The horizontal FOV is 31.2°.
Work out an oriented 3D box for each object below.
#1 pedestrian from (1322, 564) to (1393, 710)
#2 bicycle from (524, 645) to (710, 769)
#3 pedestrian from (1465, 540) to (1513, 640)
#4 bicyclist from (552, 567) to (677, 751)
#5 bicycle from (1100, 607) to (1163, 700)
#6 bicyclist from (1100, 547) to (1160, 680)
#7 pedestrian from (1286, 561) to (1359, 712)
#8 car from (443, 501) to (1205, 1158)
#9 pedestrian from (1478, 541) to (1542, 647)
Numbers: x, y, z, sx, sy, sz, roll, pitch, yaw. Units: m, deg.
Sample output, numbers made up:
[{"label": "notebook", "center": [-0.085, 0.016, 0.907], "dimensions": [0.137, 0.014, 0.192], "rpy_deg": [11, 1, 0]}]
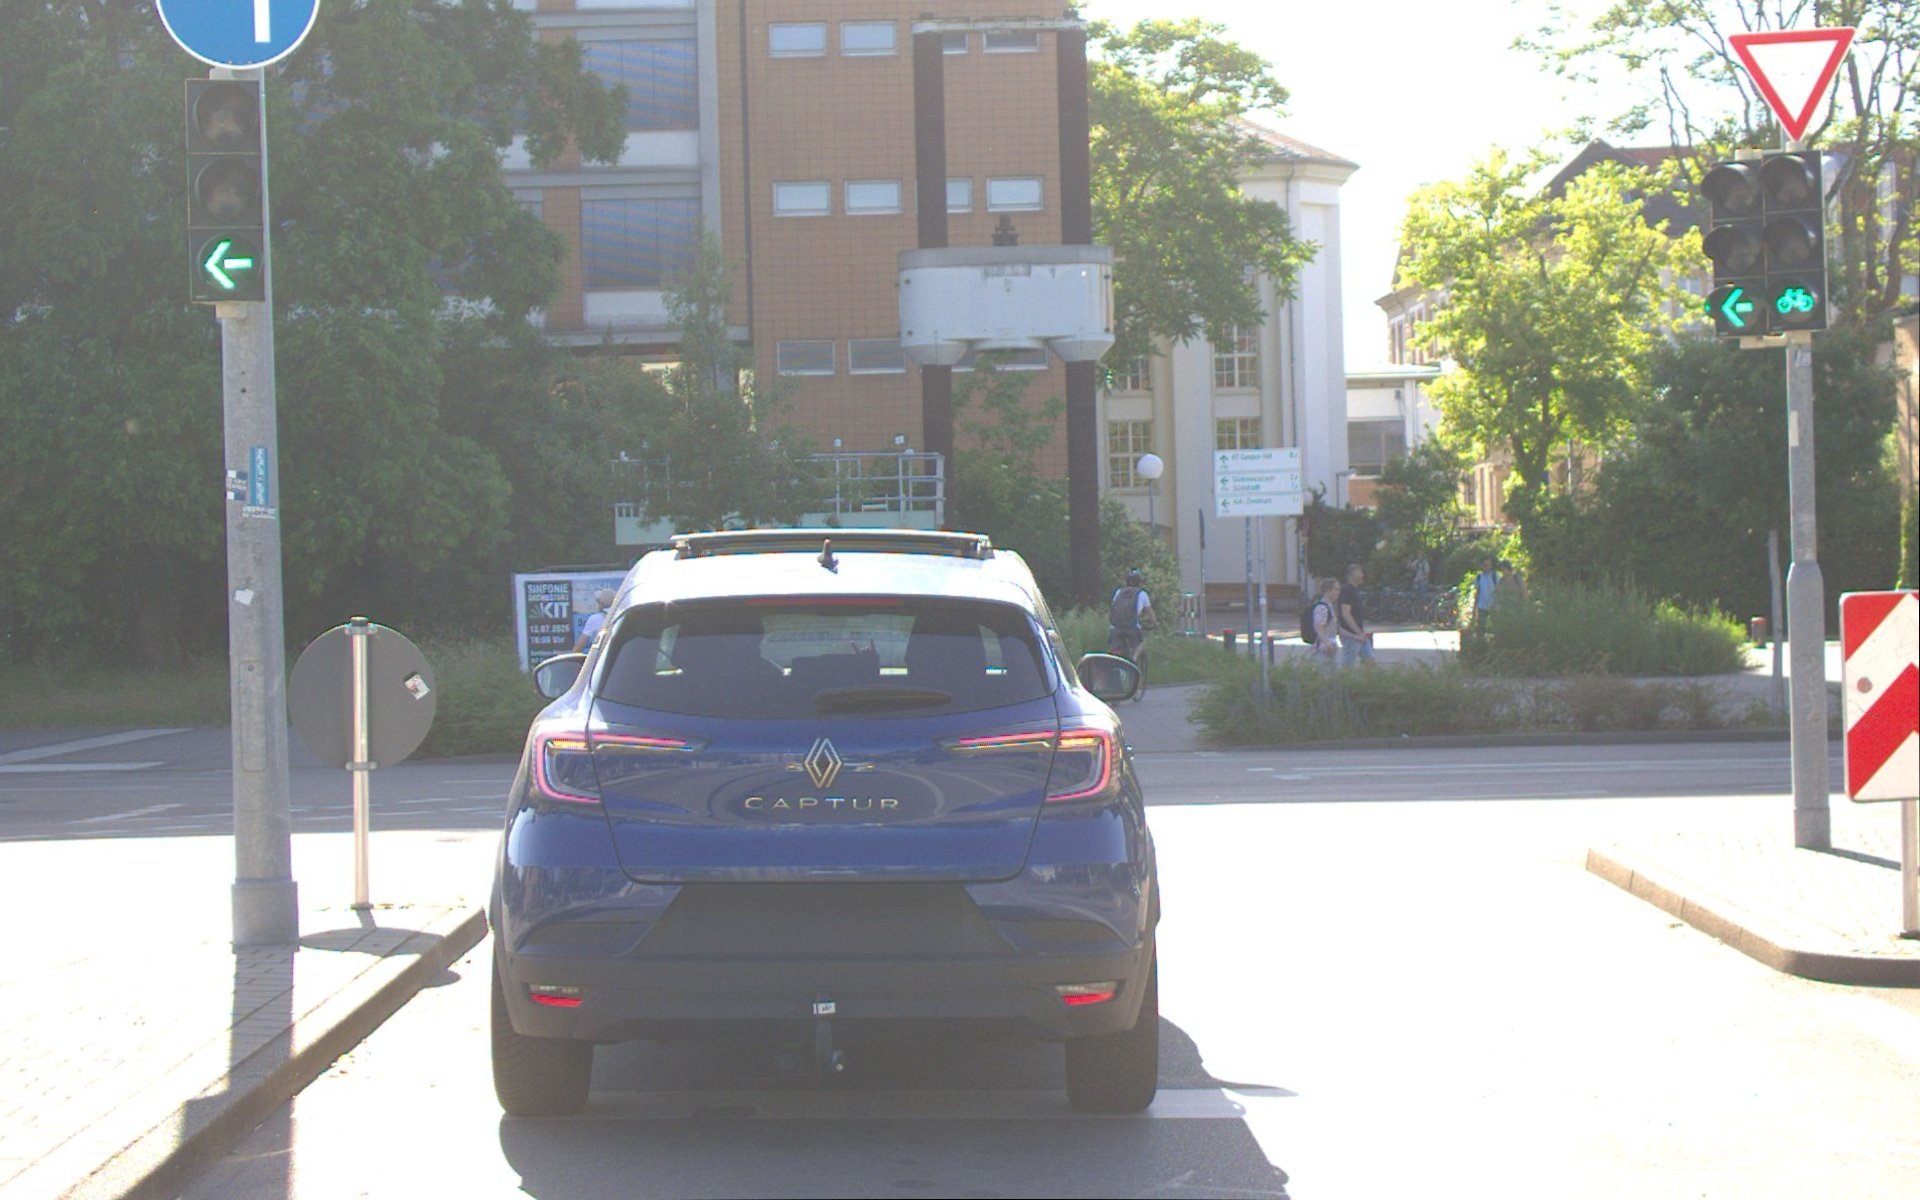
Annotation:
[{"label": "pedestrian", "center": [4.919, 0.449, 42.502], "dimensions": [0.734, 1.776, 0.731], "rpy_deg": [1, 0, 17]}, {"label": "bicycle", "center": [-3.378, 1.036, 33.756], "dimensions": [1.869, 1.161, 0.746], "rpy_deg": [-1, 1, 43]}, {"label": "pedestrian", "center": [8.708, -0.168, 56.560], "dimensions": [0.676, 1.637, 0.735], "rpy_deg": [1, 0, 17]}, {"label": "bicyclist", "center": [-3.391, 0.571, 33.755], "dimensions": [0.977, 1.757, 0.720], "rpy_deg": [-1, 0, 43]}, {"label": "bicycle", "center": [2.274, 0.698, 45.520], "dimensions": [0.746, 1.161, 1.870], "rpy_deg": [-1, 0, 5]}, {"label": "bicyclist", "center": [2.259, 0.167, 45.532], "dimensions": [0.720, 1.729, 0.977], "rpy_deg": [-1, 0, 5]}, {"label": "pedestrian", "center": [4.404, 0.438, 41.699], "dimensions": [0.734, 1.810, 0.731], "rpy_deg": [1, 0, 17]}, {"label": "car", "center": [-0.363, 0.557, 10.488], "dimensions": [1.876, 1.612, 3.798], "rpy_deg": [1, 0, -1]}, {"label": "pedestrian", "center": [8.603, -0.094, 53.751], "dimensions": [0.677, 1.637, 0.734], "rpy_deg": [1, 0, 43]}]
